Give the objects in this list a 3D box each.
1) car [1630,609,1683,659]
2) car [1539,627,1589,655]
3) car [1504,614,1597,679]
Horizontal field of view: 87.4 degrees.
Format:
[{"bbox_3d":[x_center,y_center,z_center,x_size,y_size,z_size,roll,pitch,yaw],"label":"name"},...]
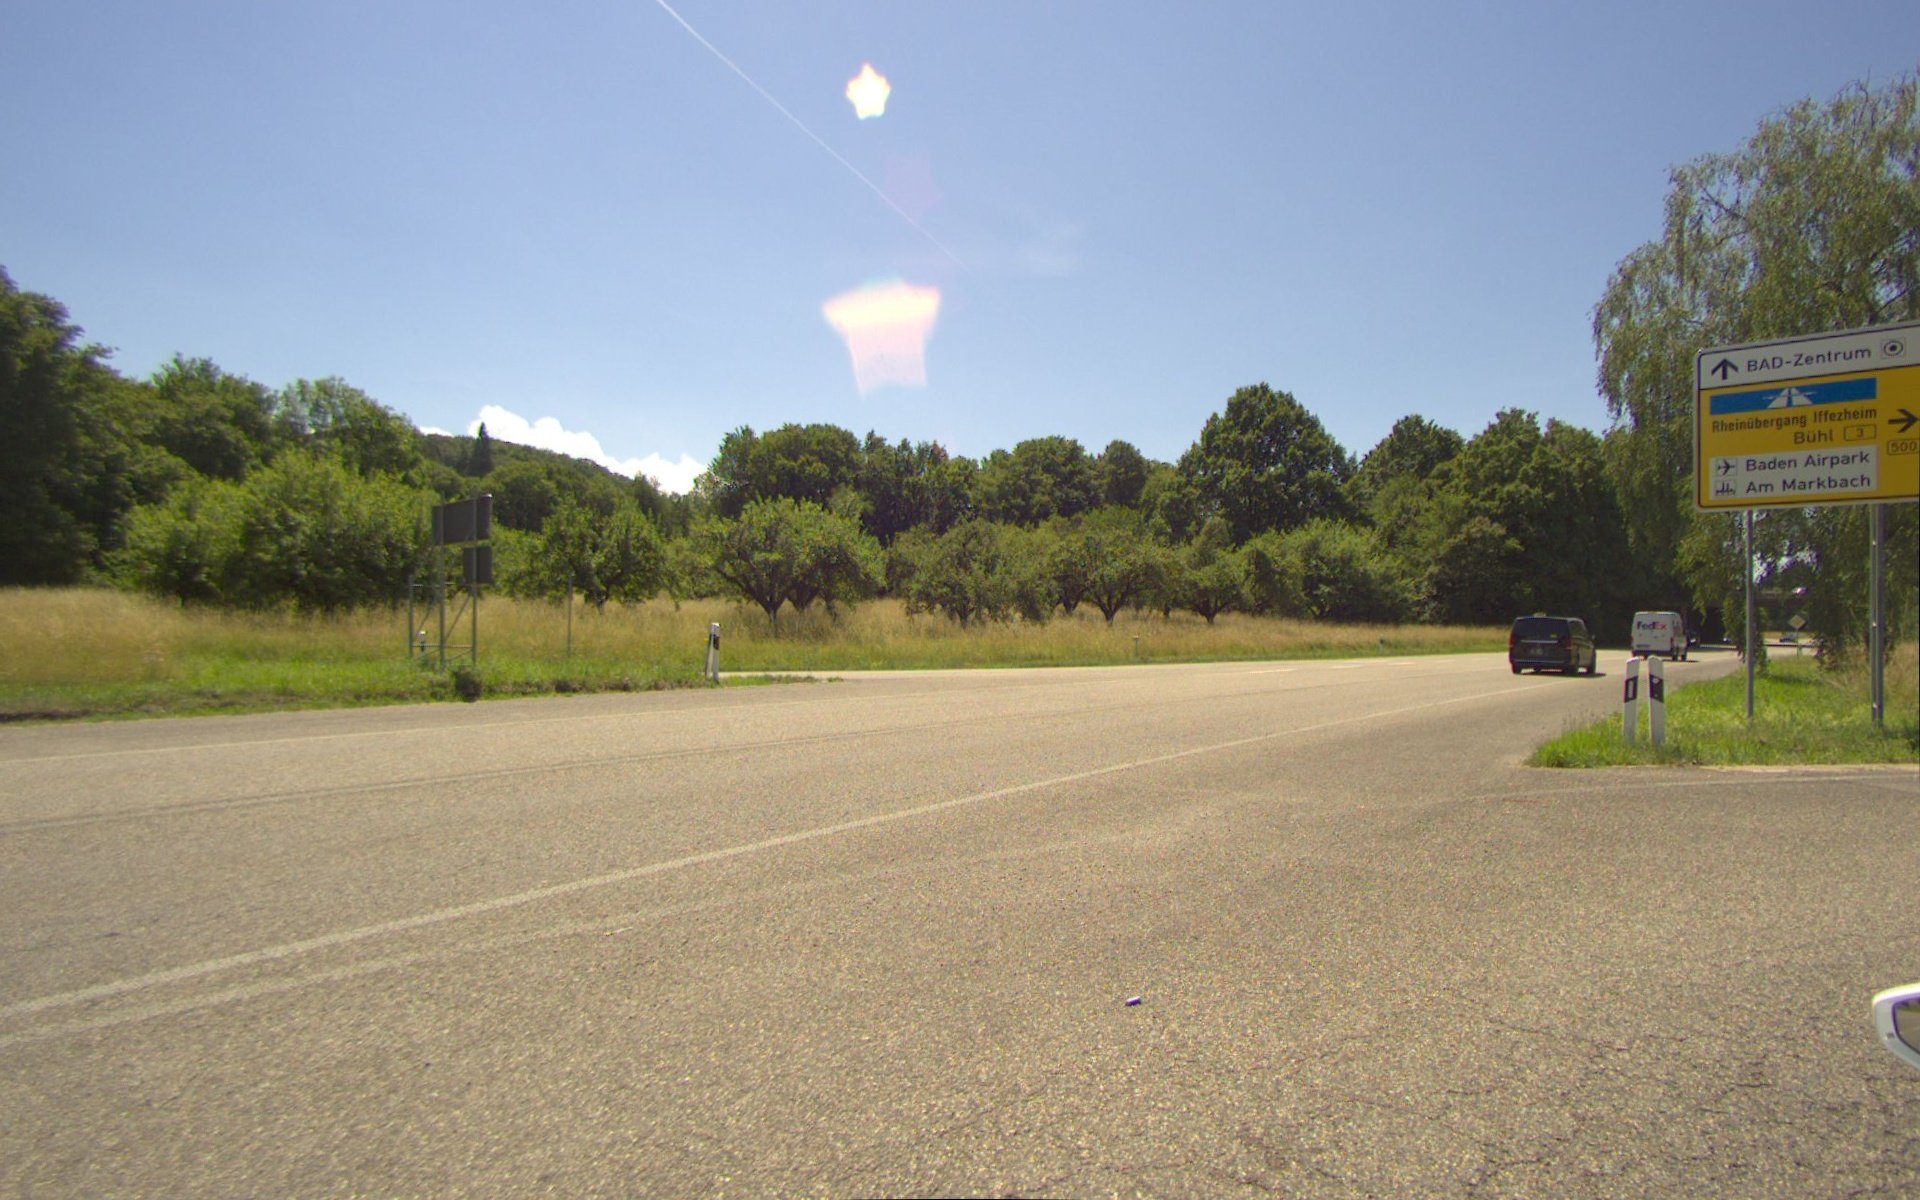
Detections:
[{"bbox_3d":[37.996,1.826,54.739,2.091,2.534,4.072,1,0,39],"label":"car"},{"bbox_3d":[38.994,2.631,64.814,2.092,1.657,4.069,1,0,41],"label":"car"},{"bbox_3d":[19.627,1.502,33.315,1.970,1.973,4.069,1,0,41],"label":"car"}]
